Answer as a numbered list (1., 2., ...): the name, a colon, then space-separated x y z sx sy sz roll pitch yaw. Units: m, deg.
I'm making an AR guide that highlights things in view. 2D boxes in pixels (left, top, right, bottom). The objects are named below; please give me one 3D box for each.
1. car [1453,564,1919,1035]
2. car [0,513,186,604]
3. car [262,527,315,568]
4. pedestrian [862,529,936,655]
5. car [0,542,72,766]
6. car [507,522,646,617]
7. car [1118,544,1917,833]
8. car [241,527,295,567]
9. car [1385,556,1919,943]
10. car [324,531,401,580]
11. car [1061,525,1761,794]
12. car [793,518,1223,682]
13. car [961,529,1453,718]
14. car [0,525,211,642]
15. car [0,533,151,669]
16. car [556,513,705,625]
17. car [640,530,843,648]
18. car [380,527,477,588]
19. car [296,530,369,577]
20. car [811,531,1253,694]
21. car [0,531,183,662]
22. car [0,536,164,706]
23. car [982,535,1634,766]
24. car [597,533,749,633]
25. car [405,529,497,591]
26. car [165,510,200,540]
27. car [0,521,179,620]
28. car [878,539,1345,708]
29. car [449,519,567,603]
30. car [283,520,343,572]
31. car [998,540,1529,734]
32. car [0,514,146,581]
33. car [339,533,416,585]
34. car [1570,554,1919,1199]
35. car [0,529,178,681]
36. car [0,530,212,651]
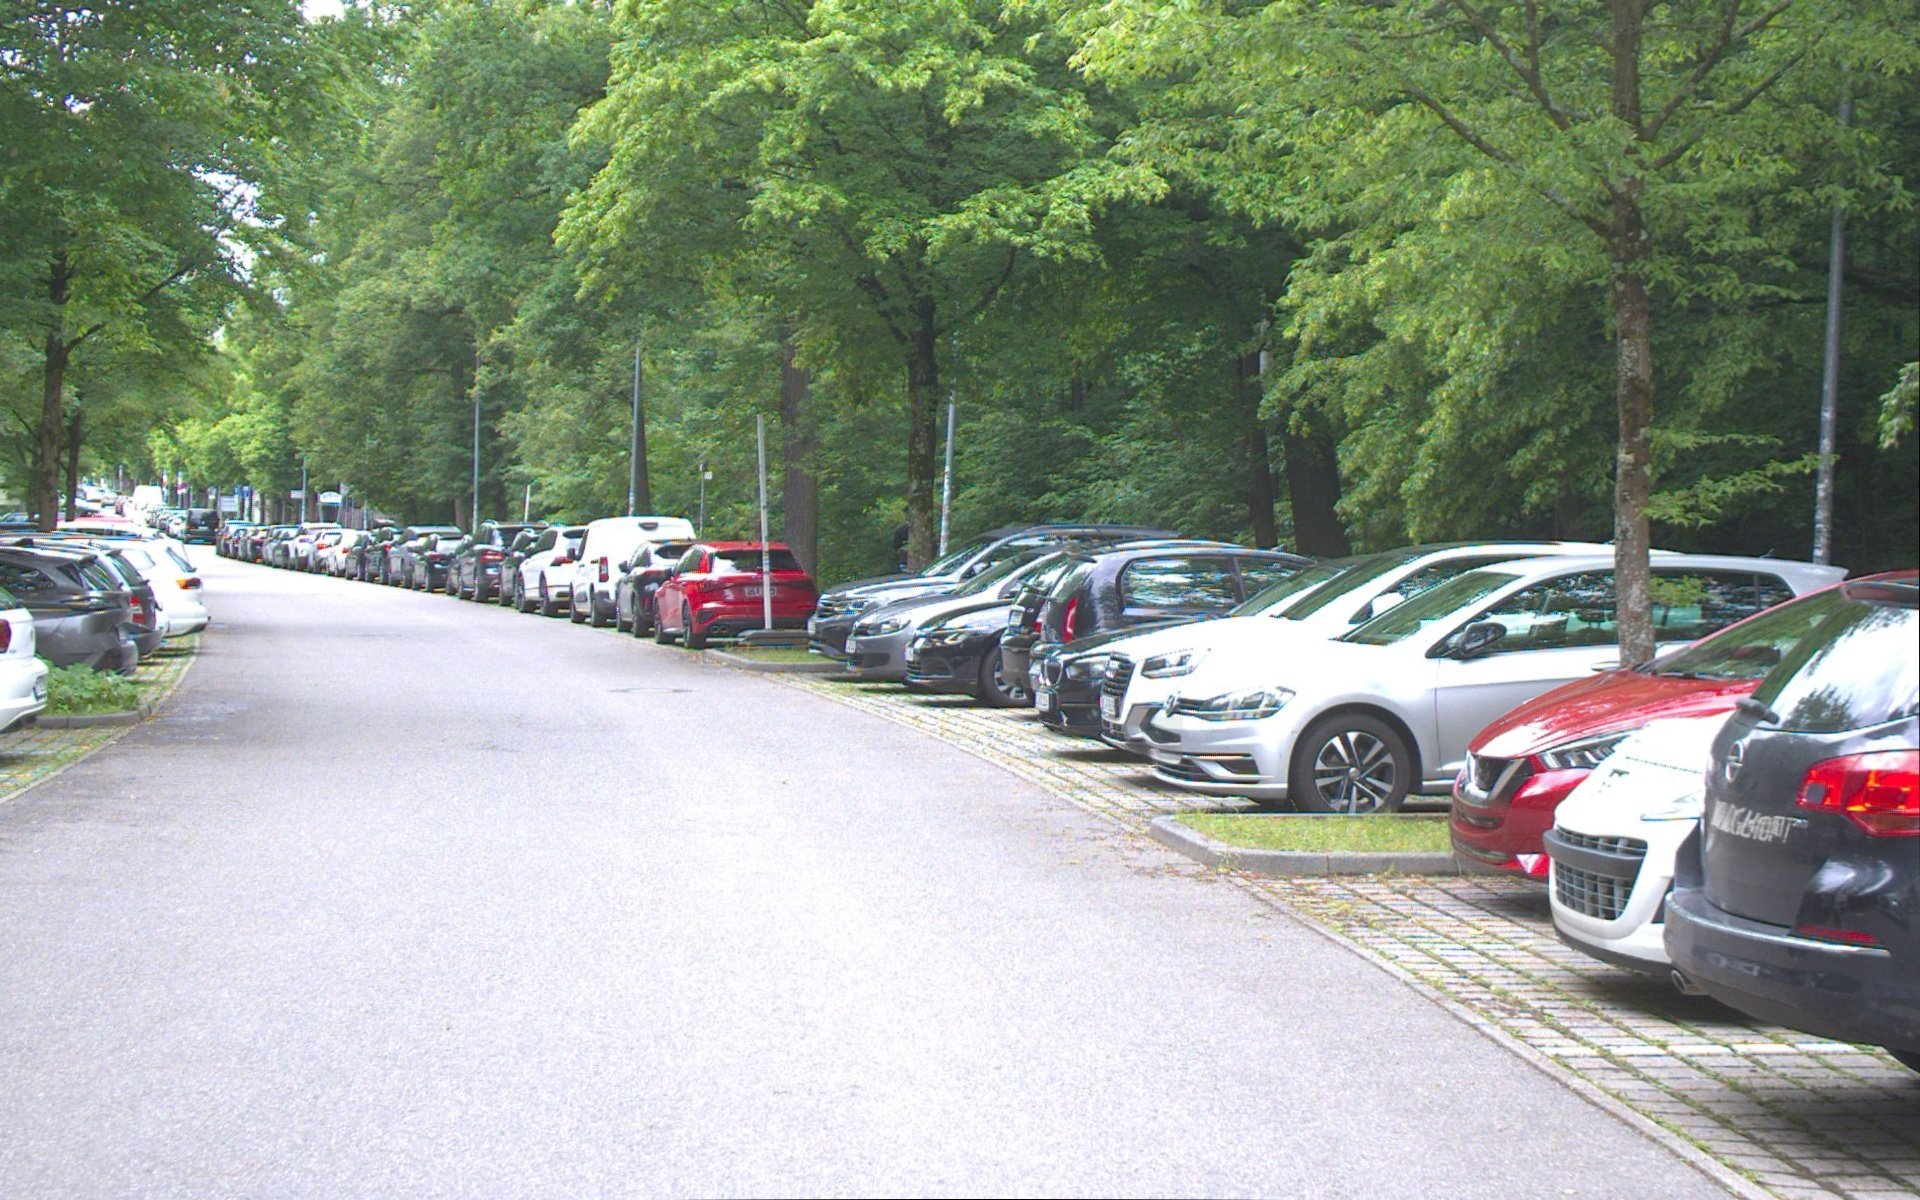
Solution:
1. car: 3.840 0.630 11.665 3.931 1.406 1.878 1 2 -5
2. car: -16.587 -0.786 63.989 4.223 1.627 2.030 1 1 -13
3. car: -25.518 -1.997 130.533 1.710 1.504 4.001 1 1 -15
4. pedestrian: -0.854 -0.118 47.786 0.817 1.720 1.004 1 1 -13
5. car: -7.874 0.332 22.590 3.725 1.414 1.872 0 1 -7
6. car: -7.110 -0.595 63.347 1.785 1.657 4.719 1 1 -16
7. car: 3.038 0.469 19.175 3.975 1.478 1.884 1 2 -10
8. car: -27.679 -2.132 137.432 1.920 1.515 3.888 1 1 -14
9. car: 3.925 0.577 14.483 3.793 1.436 1.871 1 2 -14
10. car: -18.728 -1.419 107.653 1.936 1.470 3.993 1 1 -16
11. car: 2.764 0.348 21.697 4.008 1.553 1.978 1 2 -5
12. car: 0.475 -0.015 36.733 4.264 1.660 1.959 1 1 -10
13. car: 2.050 0.167 29.096 3.826 1.526 1.851 0 1 -9
14. car: -12.045 -0.227 44.555 4.561 1.481 1.870 0 1 -12
15. car: -10.430 -0.004 37.267 3.217 1.439 1.681 0 1 -13
16. car: -5.539 -0.543 57.334 1.744 1.774 4.553 1 1 -15
17. car: -3.035 -0.186 46.663 1.993 1.474 4.973 1 1 -12
18. car: -14.032 -1.141 90.543 1.977 1.532 4.623 1 1 -16
19. car: -20.696 -1.549 113.233 1.721 1.489 3.775 0 1 -20
20. car: 0.691 0.113 34.314 3.986 1.546 1.976 1 1 -15
21. car: -11.211 -0.051 39.567 4.364 1.481 1.892 0 1 -15
22. car: -9.201 0.153 29.641 4.403 1.419 2.036 0 1 -8
23. car: 2.395 0.338 24.205 4.186 1.506 1.894 1 2 -10
24. car: -4.389 -0.286 52.137 1.725 1.418 4.285 1 1 -12
25. car: -12.556 -0.999 84.709 1.636 1.472 4.153 0 1 -17
26. car: -43.000 -4.140 190.064 1.628 1.410 3.412 1 4 -16
27. car: -15.161 -0.495 56.455 4.513 1.579 1.927 0 1 -14
28. car: 1.354 0.200 31.746 3.986 1.470 1.953 1 1 -9
29. car: -9.842 -0.875 74.607 1.889 1.741 4.950 1 1 -15
30. car: -22.314 -1.877 118.480 1.710 1.722 4.001 1 1 -15
31. car: 2.323 0.260 26.873 3.826 1.452 1.809 0 1 -8
32. car: -24.705 -1.446 95.367 3.986 1.810 2.116 0 1 -18
33. car: -17.070 -1.218 100.654 1.665 1.439 3.815 1 1 -18
34. car: 3.710 0.662 9.018 3.767 1.476 1.774 1 2 -7
35. car: -10.124 0.026 34.576 4.264 1.481 2.058 0 1 -9
36. car: -11.590 -0.136 42.254 4.561 1.442 2.086 0 1 -16
